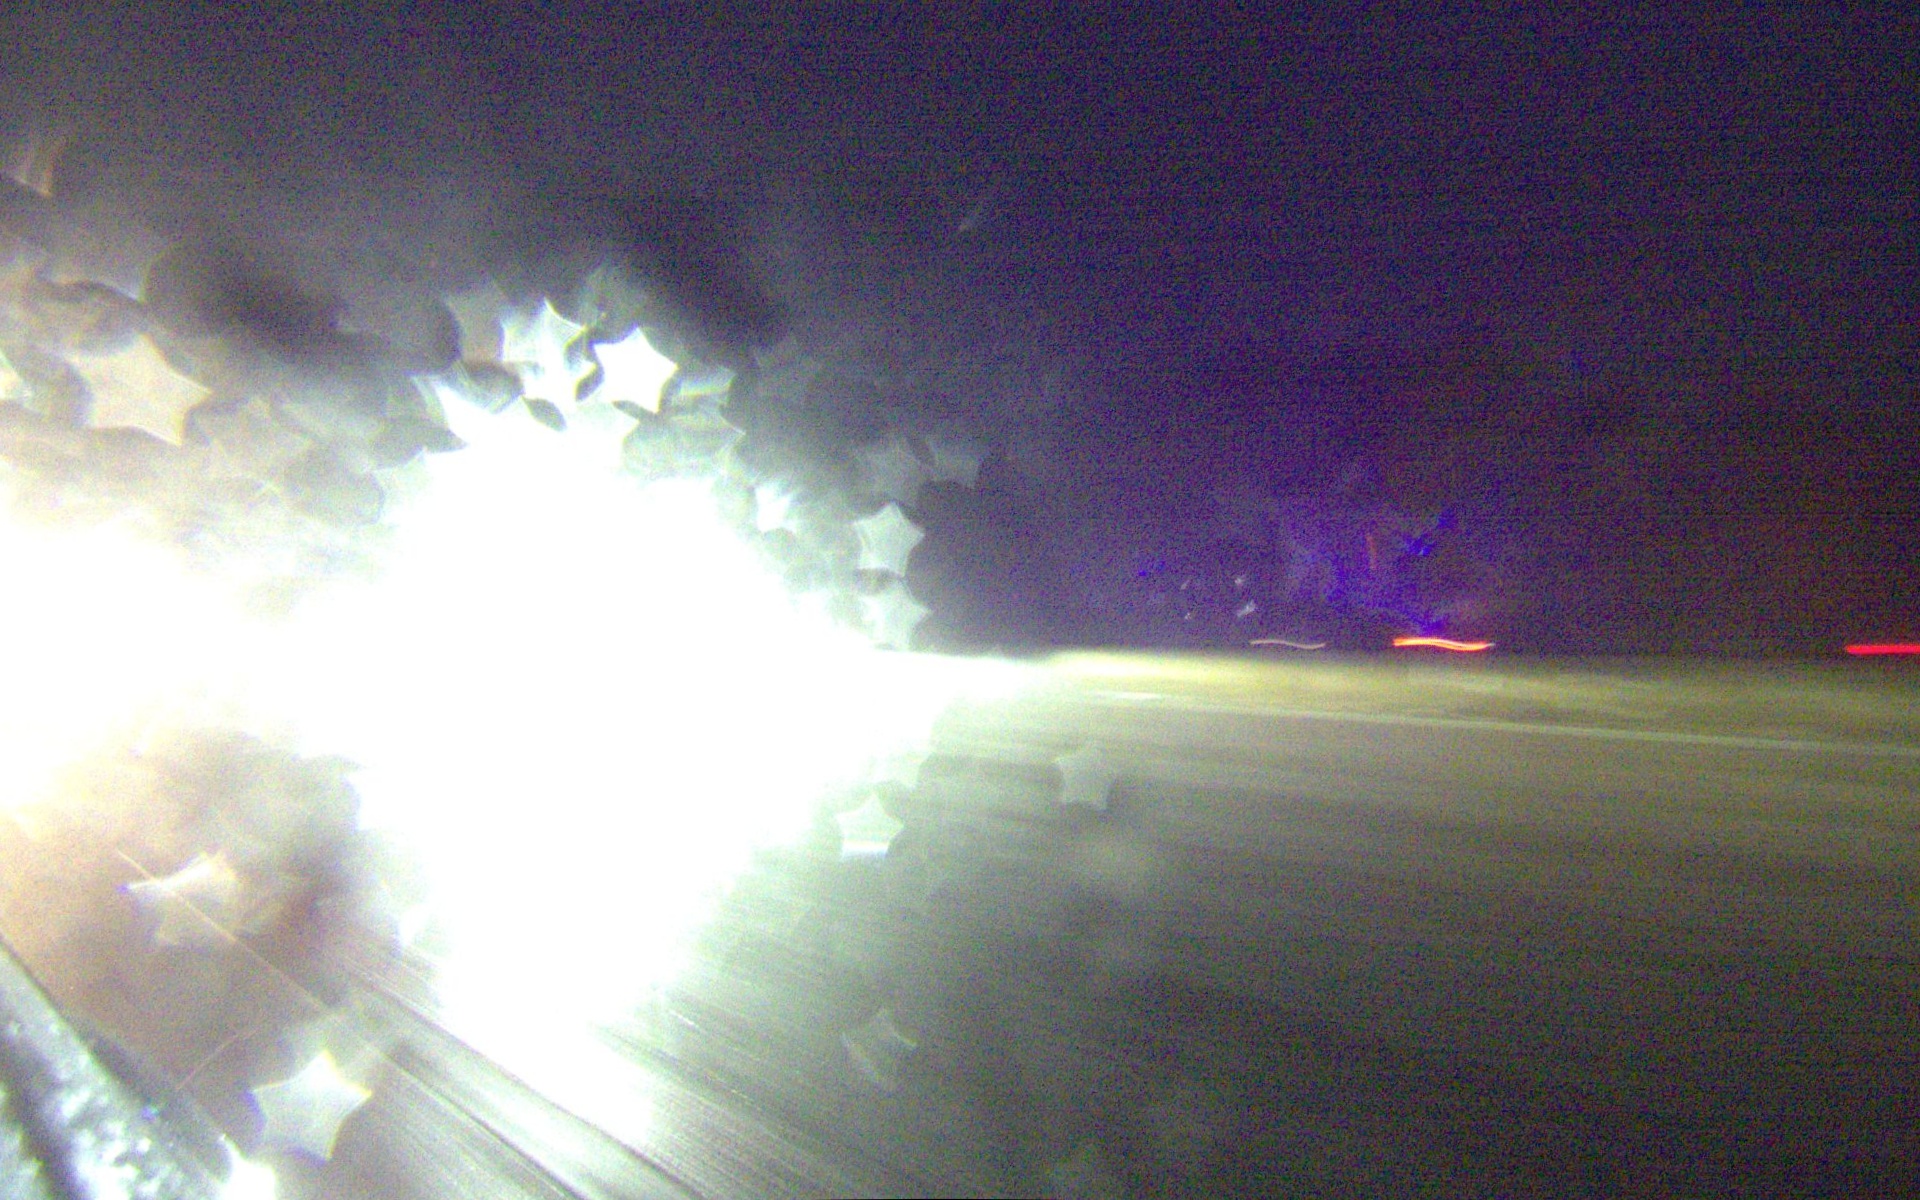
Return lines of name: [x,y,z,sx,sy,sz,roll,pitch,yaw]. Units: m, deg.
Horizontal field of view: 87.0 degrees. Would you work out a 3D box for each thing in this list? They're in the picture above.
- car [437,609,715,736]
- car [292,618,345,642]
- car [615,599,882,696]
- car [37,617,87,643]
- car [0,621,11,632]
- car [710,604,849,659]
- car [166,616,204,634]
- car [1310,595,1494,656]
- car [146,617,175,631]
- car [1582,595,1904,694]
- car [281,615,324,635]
car: [-5.390,0.876,13.988,3.999,1.452,1.973,-1,0,42]
car: [-44.743,2.064,70.591,4.457,1.569,1.861,-1,0,40]
car: [-3.933,0.762,18.244,5.161,1.487,1.973,-1,0,40]
car: [-59.354,1.973,66.840,4.587,1.572,1.972,-1,0,42]
car: [-154.811,4.275,163.373,4.457,1.569,1.861,-1,0,40]
car: [-5.695,0.932,31.652,4.457,1.569,1.861,-1,0,41]
car: [-72.158,2.293,94.170,4.457,1.569,1.861,-1,0,40]
car: [12.512,0.684,28.791,4.457,1.569,1.861,-1,0,41]
car: [-95.679,2.811,121.100,4.457,1.569,1.861,-1,0,40]
car: [14.094,0.732,18.466,4.457,1.569,1.861,-1,0,41]
car: [-55.267,2.117,85.062,4.458,1.569,1.860,-1,0,41]
